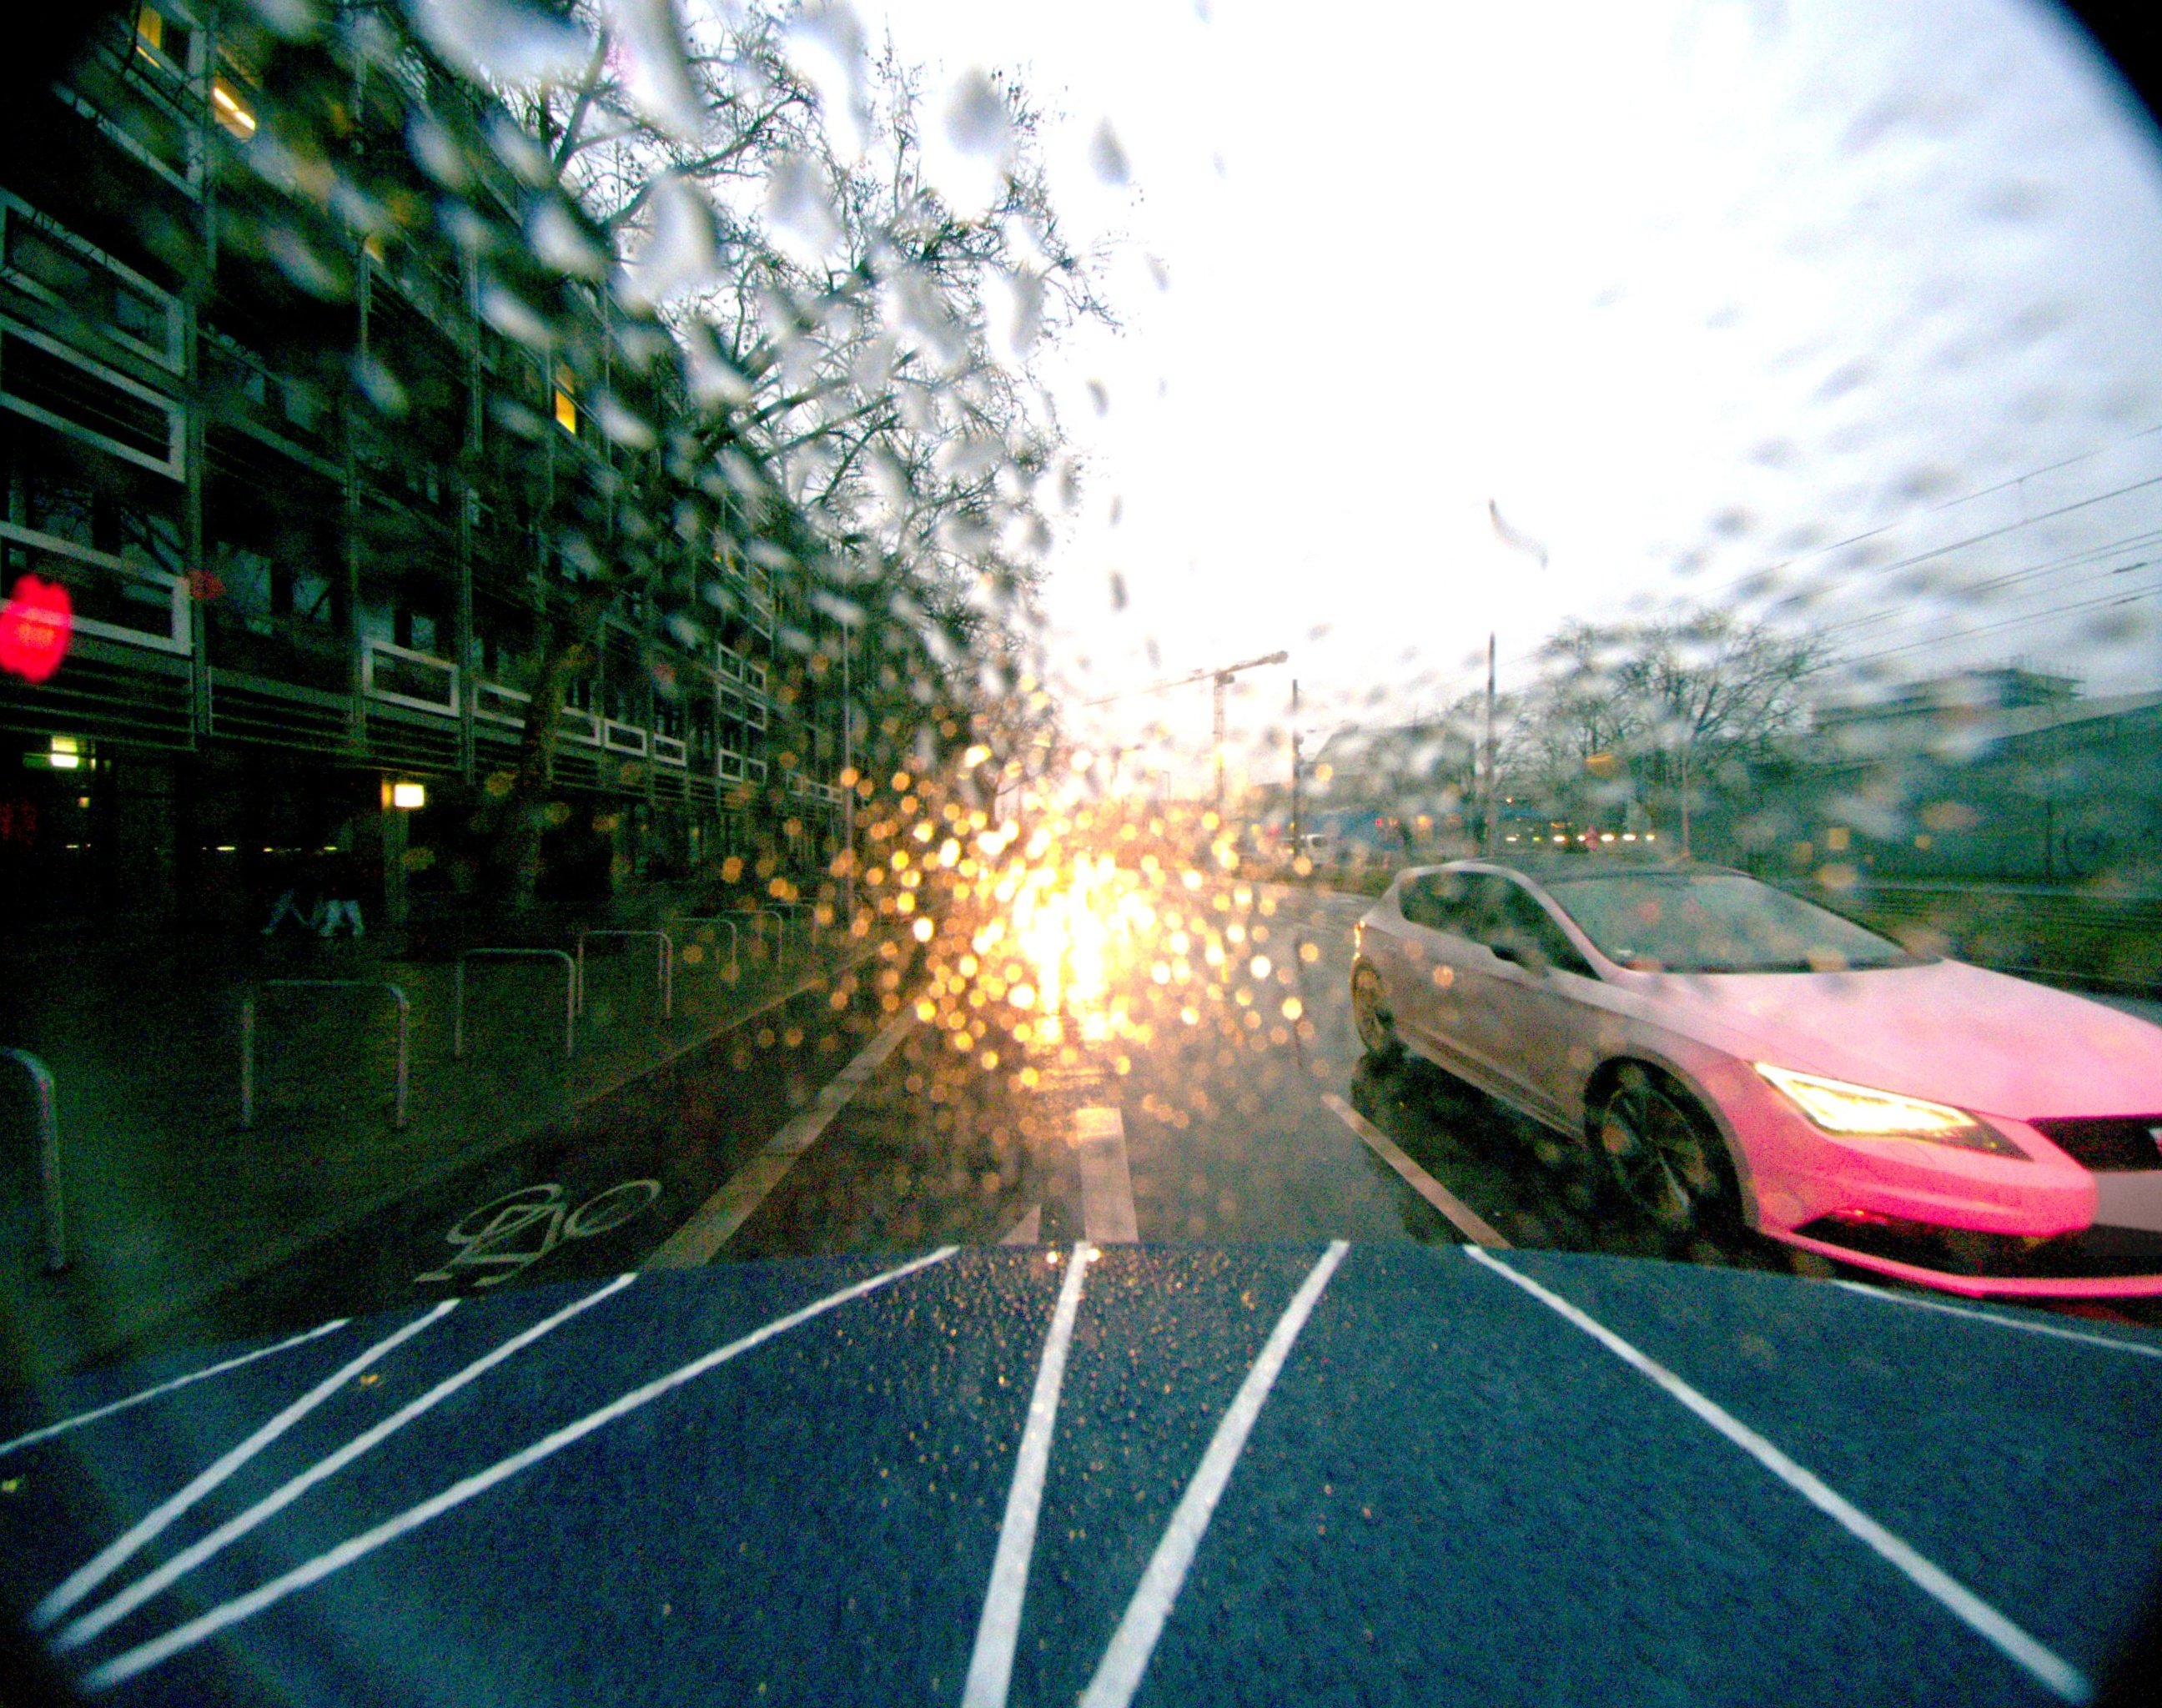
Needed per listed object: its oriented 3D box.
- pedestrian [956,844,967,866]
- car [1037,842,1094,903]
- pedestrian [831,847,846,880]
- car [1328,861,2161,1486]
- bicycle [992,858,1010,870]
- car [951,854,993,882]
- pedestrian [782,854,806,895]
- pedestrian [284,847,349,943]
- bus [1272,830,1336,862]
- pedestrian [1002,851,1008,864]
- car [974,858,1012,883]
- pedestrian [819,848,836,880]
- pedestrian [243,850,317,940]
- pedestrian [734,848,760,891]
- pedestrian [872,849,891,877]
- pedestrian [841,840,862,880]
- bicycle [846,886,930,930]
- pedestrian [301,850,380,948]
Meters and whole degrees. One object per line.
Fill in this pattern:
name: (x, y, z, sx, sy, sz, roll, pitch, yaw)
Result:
pedestrian: (-10.717, 0.103, 68.227, 0.791, 2.002, 1.024, -1, 1, 0)
car: (-0.475, 0.606, 27.068, 1.858, 2.002, 4.000, -1, 0, 1)
pedestrian: (-12.725, 0.478, 39.867, 0.661, 1.708, 0.841, -1, 1, -24)
car: (2.942, 0.823, 4.004, 1.778, 1.466, 4.128, -2, 1, -2)
bicycle: (-7.216, 0.912, 68.310, 1.523, 1.030, 0.469, -2, 1, -7)
car: (-6.177, 0.788, 43.387, 1.608, 1.424, 3.930, 2, 1, 2)
pedestrian: (-10.906, 0.788, 28.898, 0.649, 1.535, 0.615, 0, 1, 1)
pedestrian: (-13.504, 0.708, 13.432, 0.379, 1.658, 0.713, 0, 1, 1)
bus: (26.158, -0.928, 90.043, 2.815, 3.557, 12.298, -1, 0, -6)
pedestrian: (-11.345, 0.505, 113.339, 0.838, 2.002, 0.771, -2, 2, -1)
car: (-5.856, 1.096, 51.227, 1.998, 1.477, 3.999, -2, 1, 1)
pedestrian: (-13.023, 0.516, 39.087, 0.642, 1.645, 0.841, -1, 1, -30)
pedestrian: (-14.215, 0.706, 13.496, 0.484, 1.555, 0.745, -1, 1, -1)
pedestrian: (-13.080, 0.595, 29.785, 0.617, 1.647, 0.780, -1, 1, 1)
pedestrian: (-10.976, 0.470, 41.807, 0.866, 1.515, 0.837, -1, 1, -2)
pedestrian: (-11.651, 0.305, 38.539, 0.822, 2.002, 0.735, -1, 1, -2)
bicycle: (-4.452, 1.251, 17.618, 1.792, 0.968, 0.617, 1, 1, -4)
pedestrian: (-13.025, 0.768, 13.391, 0.501, 1.658, 0.873, 0, 1, 1)
